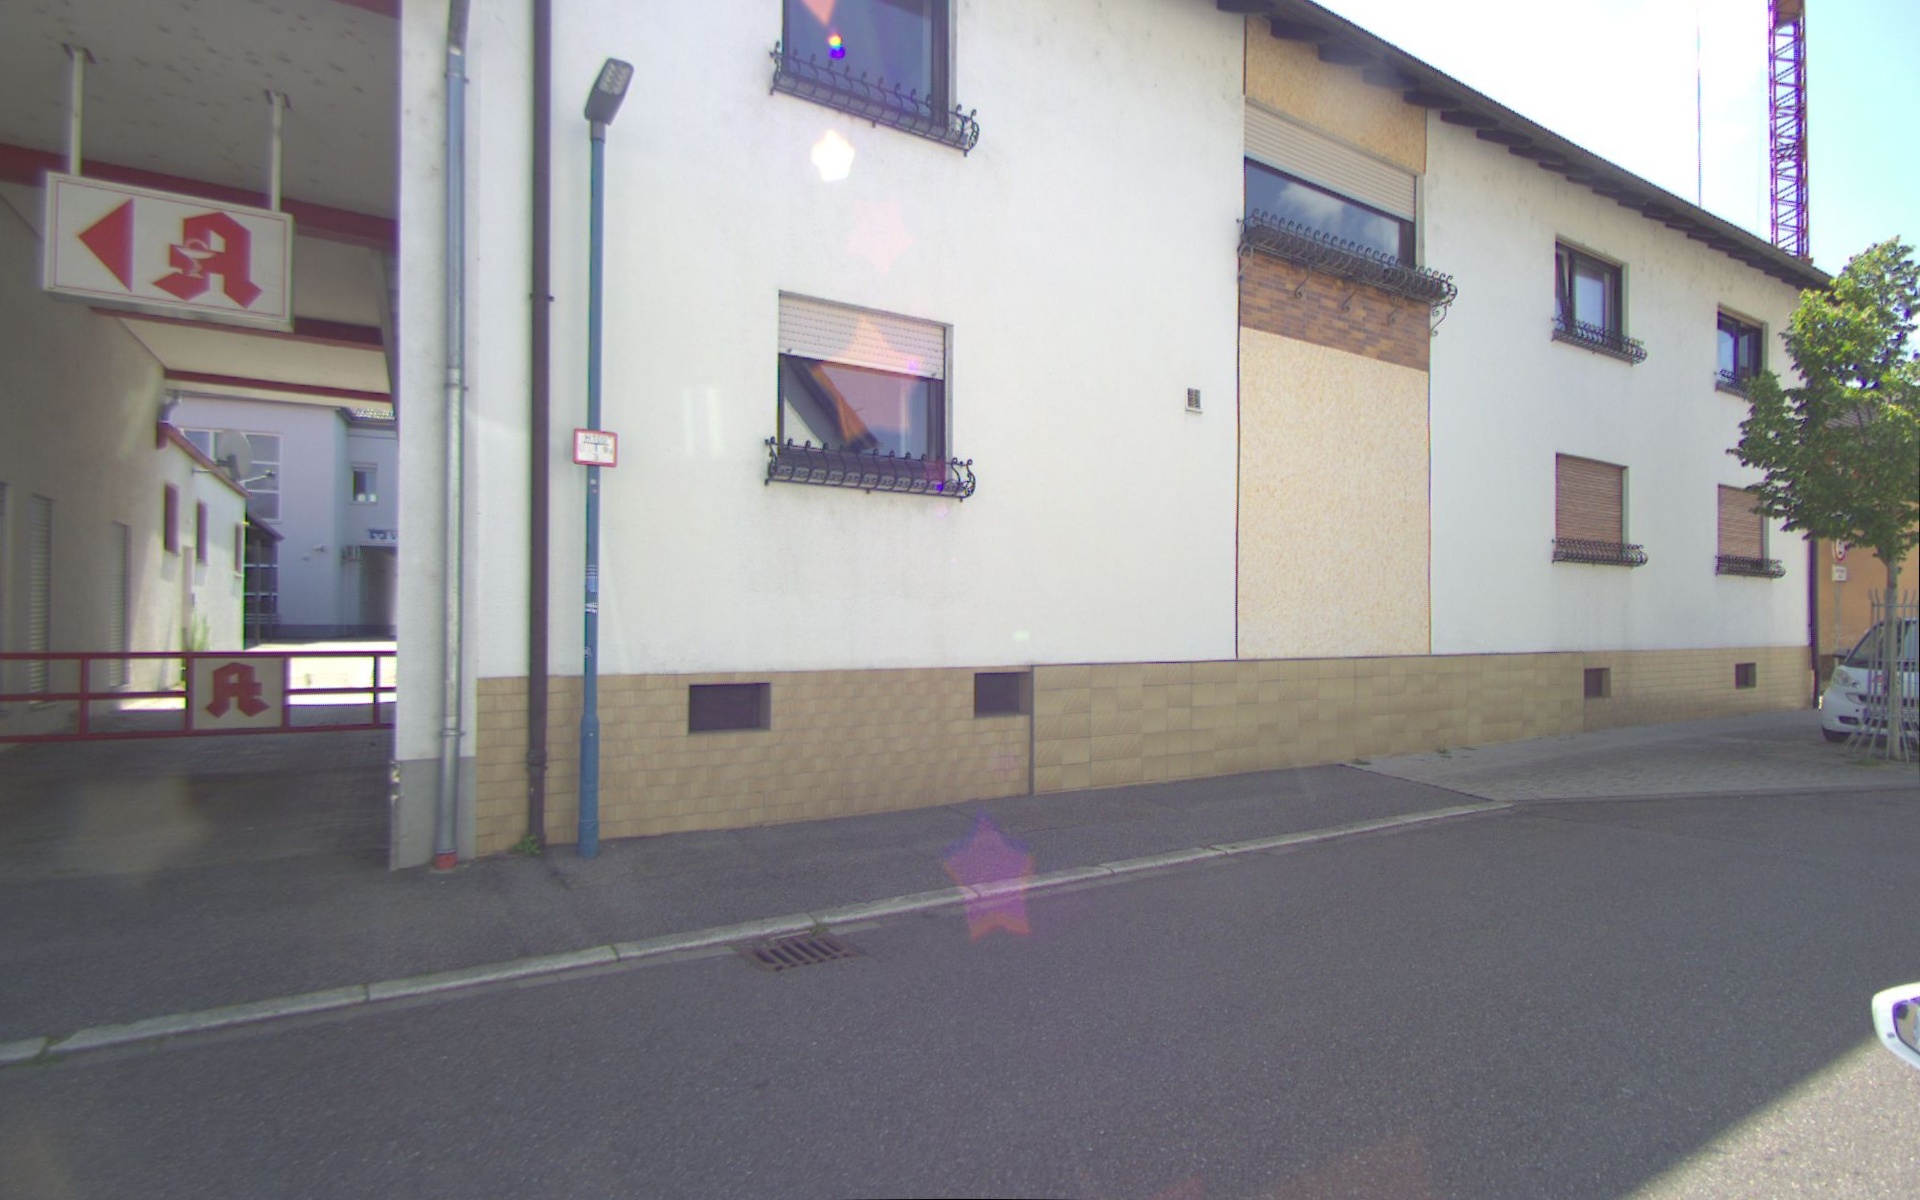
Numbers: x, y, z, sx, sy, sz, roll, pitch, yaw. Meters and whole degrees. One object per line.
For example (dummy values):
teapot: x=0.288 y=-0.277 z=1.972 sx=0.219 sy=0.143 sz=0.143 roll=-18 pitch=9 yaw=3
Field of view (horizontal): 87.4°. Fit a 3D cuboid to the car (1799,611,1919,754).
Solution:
car: x=11.852 y=0.965 z=12.317 sx=2.790 sy=1.582 sz=1.564 roll=1 pitch=1 yaw=-31
